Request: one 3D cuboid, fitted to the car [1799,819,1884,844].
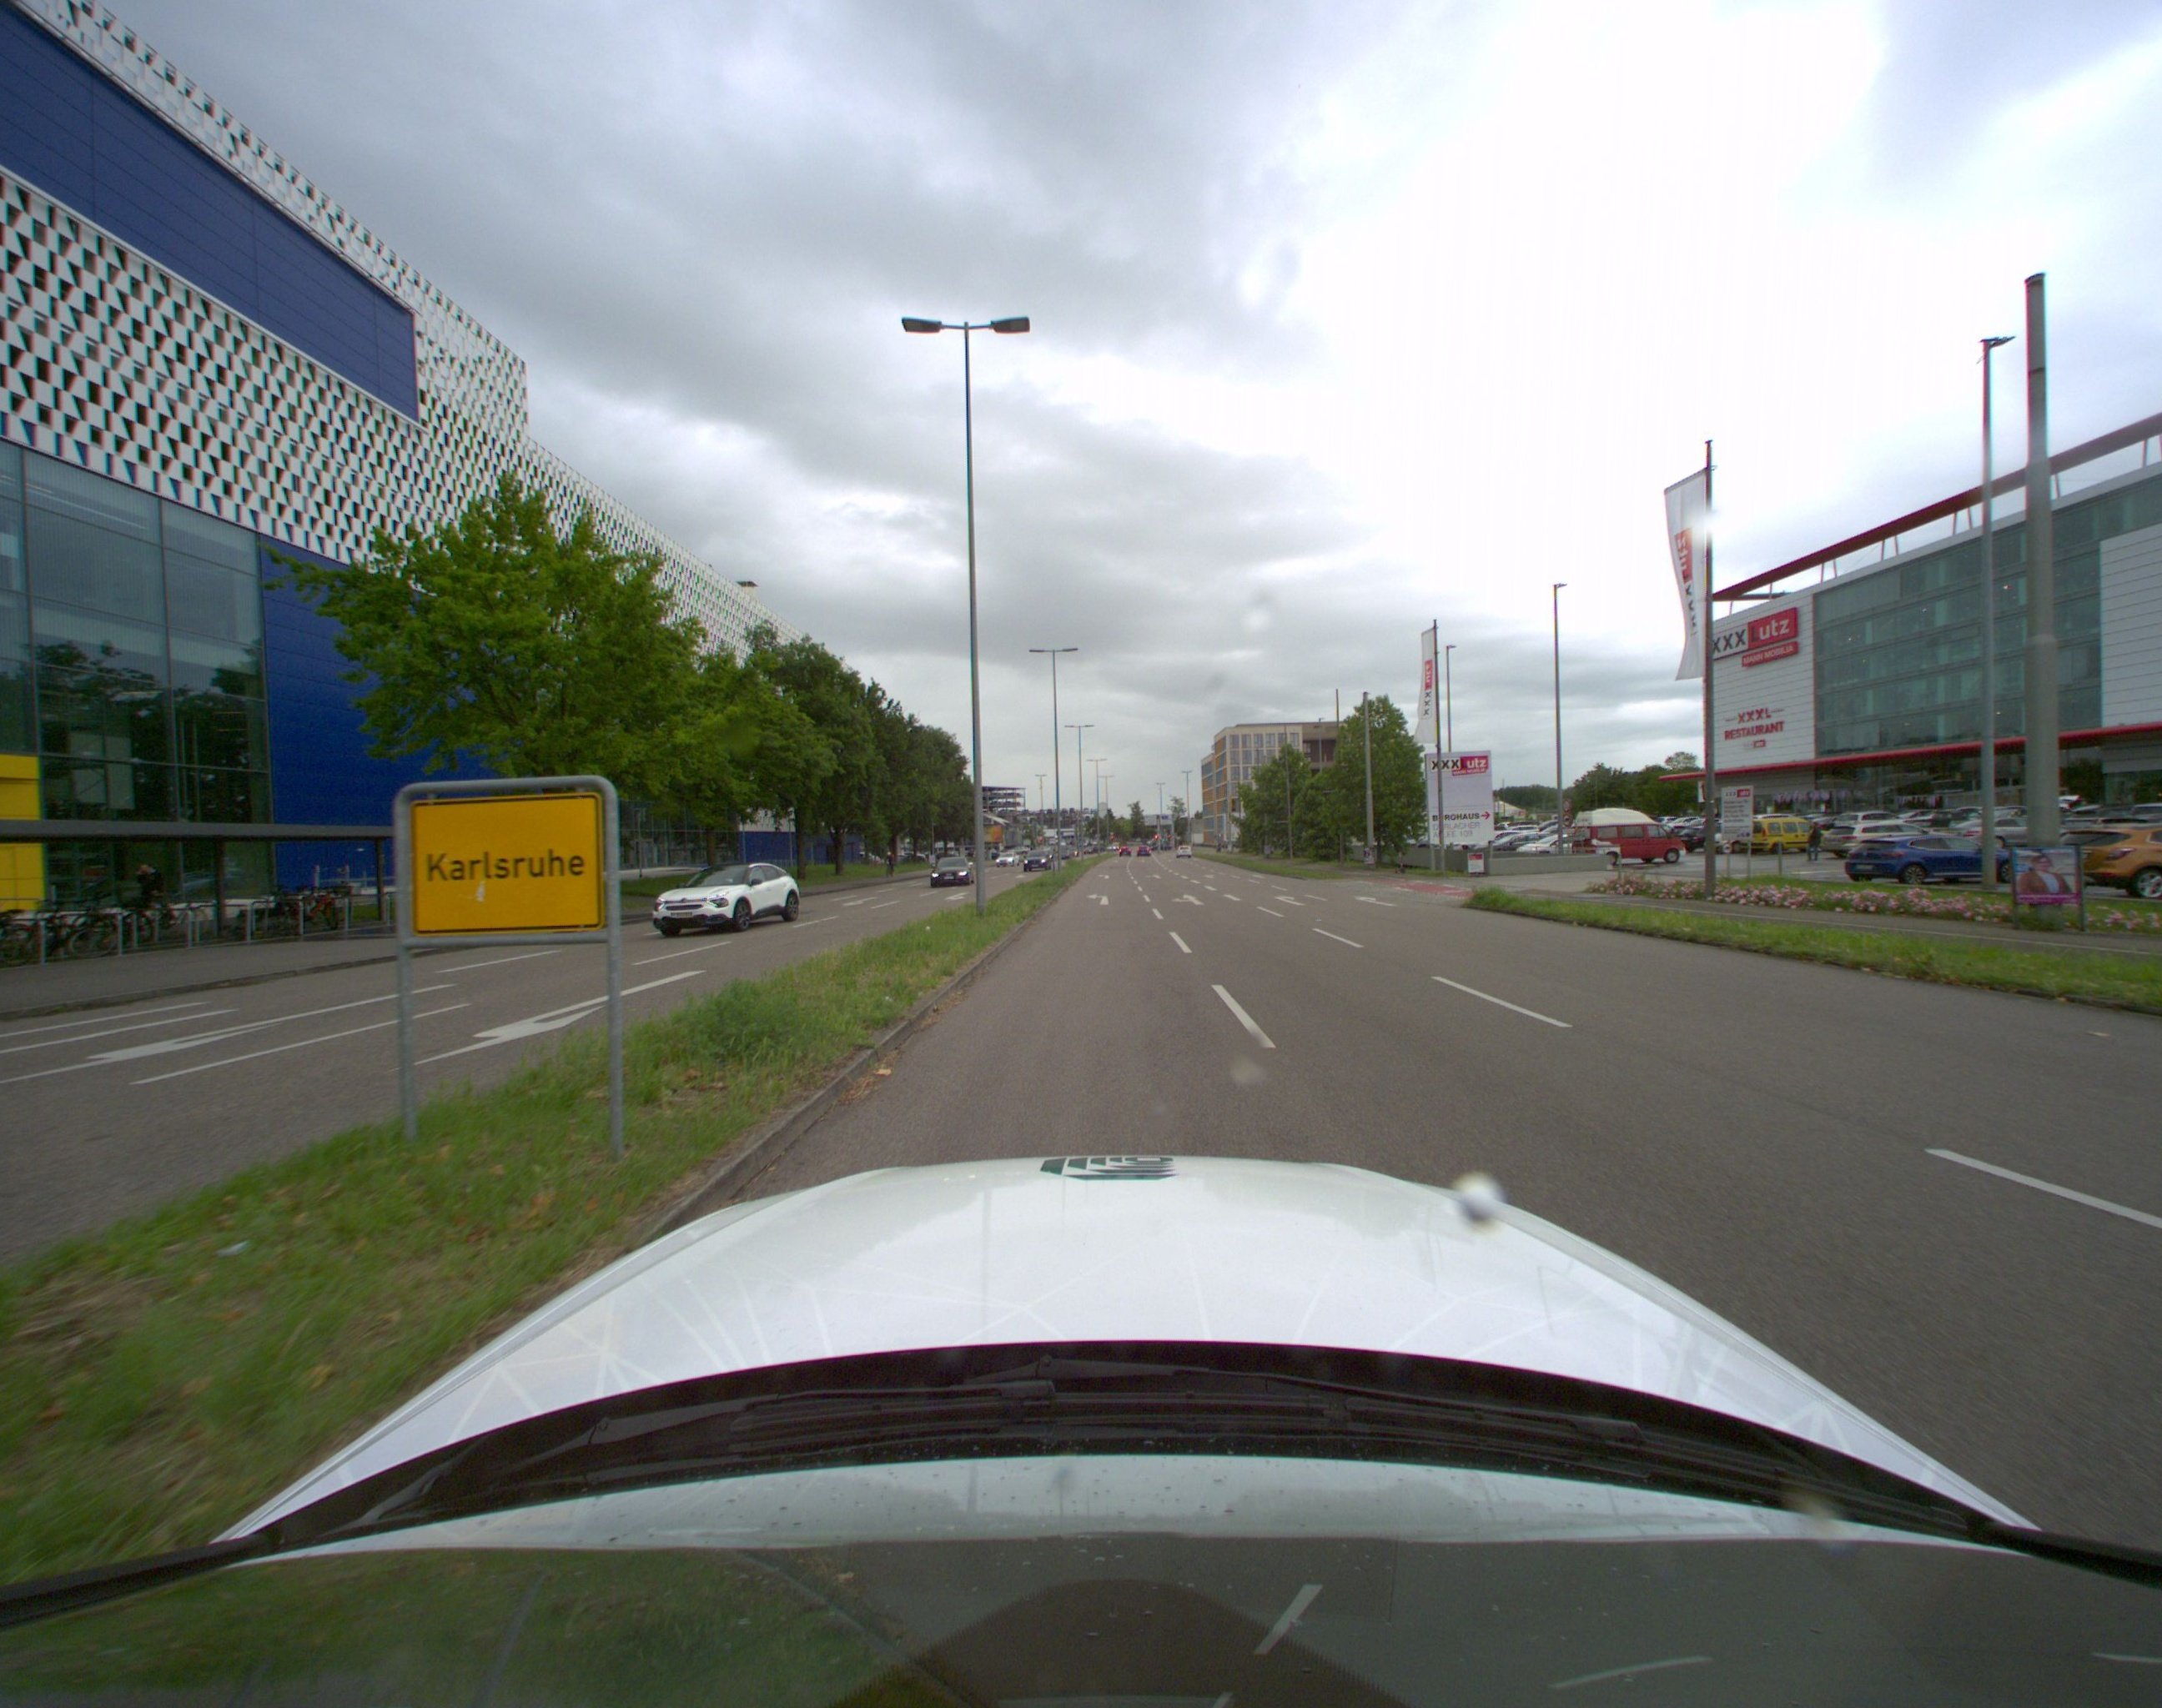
[{"bbox_3d":[51.284,-1.505,55.010,3.968,1.561,1.780,-1,2,5],"label":"car"}]

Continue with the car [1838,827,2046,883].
[{"bbox_3d":[24.707,0.029,23.492,3.970,1.455,1.816,-2,0,3],"label":"car"}]

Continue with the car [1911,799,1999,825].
[{"bbox_3d":[56.215,-2.705,52.420,3.756,1.553,1.744,-1,2,2],"label":"car"}]

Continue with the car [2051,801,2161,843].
[{"bbox_3d":[50.843,-1.560,40.070,3.975,1.926,1.934,-2,0,-1],"label":"car"}]

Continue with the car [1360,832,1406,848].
[{"bbox_3d":[26.945,-1.279,72.703,3.505,1.307,1.605,-2,2,-3],"label":"car"}]

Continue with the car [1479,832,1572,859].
[{"bbox_3d":[26.183,-0.503,48.095,4.446,1.419,1.869,-1,2,3],"label":"car"}]

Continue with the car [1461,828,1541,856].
[{"bbox_3d":[25.960,-0.743,50.401,4.036,1.540,1.766,-1,2,3],"label":"car"}]

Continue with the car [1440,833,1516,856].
[{"bbox_3d":[25.807,-0.647,53.037,4.039,1.350,1.836,-2,2,1],"label":"car"}]

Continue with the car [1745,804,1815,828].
[{"bbox_3d":[51.496,-2.785,60.054,3.550,1.587,1.743,-1,0,6],"label":"car"}]

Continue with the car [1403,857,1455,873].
[{"bbox_3d":[31.700,0.975,74.231,4.040,1.350,1.764,-1,0,1],"label":"car"}]

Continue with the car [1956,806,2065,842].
[{"bbox_3d":[51.321,-1.634,45.007,3.976,1.822,1.887,-1,0,-2],"label":"car"}]

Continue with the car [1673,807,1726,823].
[{"bbox_3d":[58.128,-3.668,76.576,3.576,1.376,1.705,-1,2,5],"label":"car"}]

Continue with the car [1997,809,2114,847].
[{"bbox_3d":[50.813,-1.334,42.530,3.975,1.840,1.840,-1,0,-1],"label":"car"}]

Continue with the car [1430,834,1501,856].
[{"bbox_3d":[26.333,-0.640,55.818,4.039,1.350,1.765,-2,2,1],"label":"car"}]

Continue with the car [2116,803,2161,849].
[{"bbox_3d":[50.866,-1.328,37.515,3.974,2.055,1.914,-1,2,-1],"label":"car"}]

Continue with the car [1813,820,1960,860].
[{"bbox_3d":[34.736,-0.635,35.206,4.392,1.583,1.837,-1,2,4],"label":"car"}]

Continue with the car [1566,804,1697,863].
[{"bbox_3d":[25.896,-0.963,38.426,4.702,2.578,2.173,-1,2,3],"label":"car"}]

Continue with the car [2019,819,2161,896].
[{"bbox_3d":[24.548,0.025,18.554,3.966,1.643,1.819,-2,0,6],"label":"car"}]

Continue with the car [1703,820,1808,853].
[{"bbox_3d":[35.548,-0.931,42.989,3.970,1.595,1.882,-1,2,3],"label":"car"}]

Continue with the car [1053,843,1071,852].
[{"bbox_3d":[-4.128,-1.496,177.532,3.976,1.789,1.847,-2,2,-1],"label":"car"}]

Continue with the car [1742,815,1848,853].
[{"bbox_3d":[35.381,-1.016,40.433,3.720,1.767,1.736,-1,2,3],"label":"car"}]

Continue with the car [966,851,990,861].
[{"bbox_3d":[-19.255,0.344,152.485,4.407,1.660,1.998,-2,0,-4],"label":"car"}]

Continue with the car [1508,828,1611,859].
[{"bbox_3d":[25.382,-0.556,43.299,4.355,1.461,1.963,-1,2,3],"label":"car"}]

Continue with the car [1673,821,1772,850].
[{"bbox_3d":[35.583,-1.022,45.261,3.972,1.534,1.889,-1,0,1],"label":"car"}]

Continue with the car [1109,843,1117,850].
[{"bbox_3d":[7.068,-1.624,180.815,1.593,1.453,3.328,-1,2,4],"label":"car"}]

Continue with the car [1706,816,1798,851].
[{"bbox_3d":[41.463,-1.254,50.391,3.969,2.013,1.979,-1,0,3],"label":"car"}]

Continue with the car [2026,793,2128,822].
[{"bbox_3d":[58.923,-2.755,48.244,3.778,1.553,1.832,-2,2,1],"label":"car"}]

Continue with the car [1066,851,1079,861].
[{"bbox_3d":[-1.379,0.241,131.896,1.773,1.455,4.185,-3,1,3],"label":"car"}]

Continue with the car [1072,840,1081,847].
[{"bbox_3d":[-1.138,-2.918,221.503,1.766,1.705,3.927,-1,2,8],"label":"car"}]

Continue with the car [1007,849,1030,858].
[{"bbox_3d":[-12.494,-0.020,162.567,4.407,1.660,1.998,-2,0,-4],"label":"car"}]

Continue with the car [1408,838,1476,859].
[{"bbox_3d":[26.151,-0.402,59.046,4.137,1.350,1.811,-2,2,1],"label":"car"}]

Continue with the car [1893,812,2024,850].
[{"bbox_3d":[40.572,-1.057,37.726,3.969,1.634,1.789,-1,0,4],"label":"car"}]

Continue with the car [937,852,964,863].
[{"bbox_3d":[-23.482,0.630,147.055,4.533,1.659,1.998,-3,1,-4],"label":"car"}]

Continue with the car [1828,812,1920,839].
[{"bbox_3d":[50.913,-1.843,52.325,3.968,1.610,1.885,-1,2,5],"label":"car"}]

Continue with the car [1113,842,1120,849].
[{"bbox_3d":[8.190,-2.009,188.914,1.593,1.453,3.328,-1,2,4],"label":"car"}]
